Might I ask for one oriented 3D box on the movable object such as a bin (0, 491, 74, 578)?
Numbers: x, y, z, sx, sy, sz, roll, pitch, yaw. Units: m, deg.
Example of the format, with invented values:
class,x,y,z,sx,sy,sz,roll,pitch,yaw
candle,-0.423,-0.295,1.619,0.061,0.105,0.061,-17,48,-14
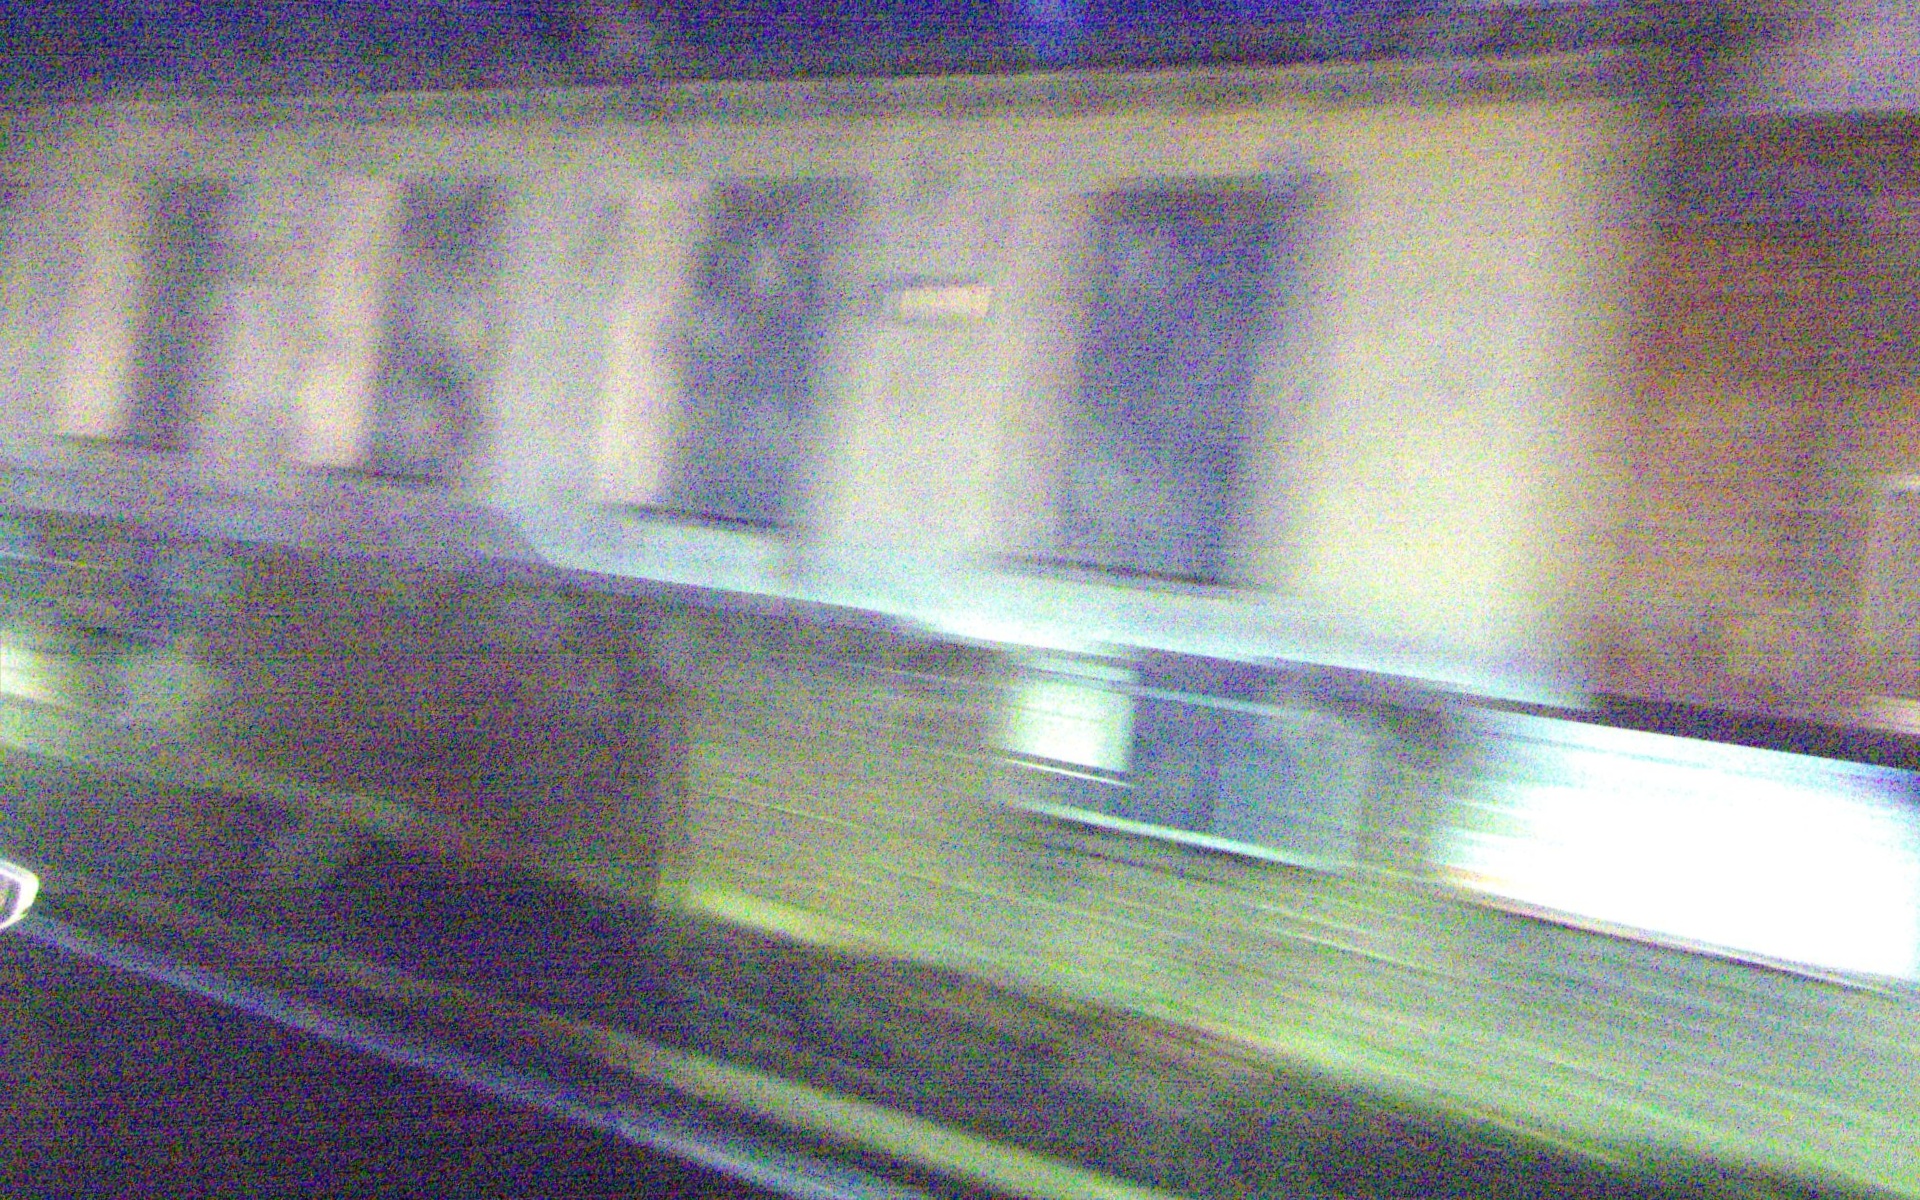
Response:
class,x,y,z,sx,sy,sz,roll,pitch,yaw
movable object such as a bin,-15.172,-1.065,15.844,1.296,1.316,1.248,5,1,-11
